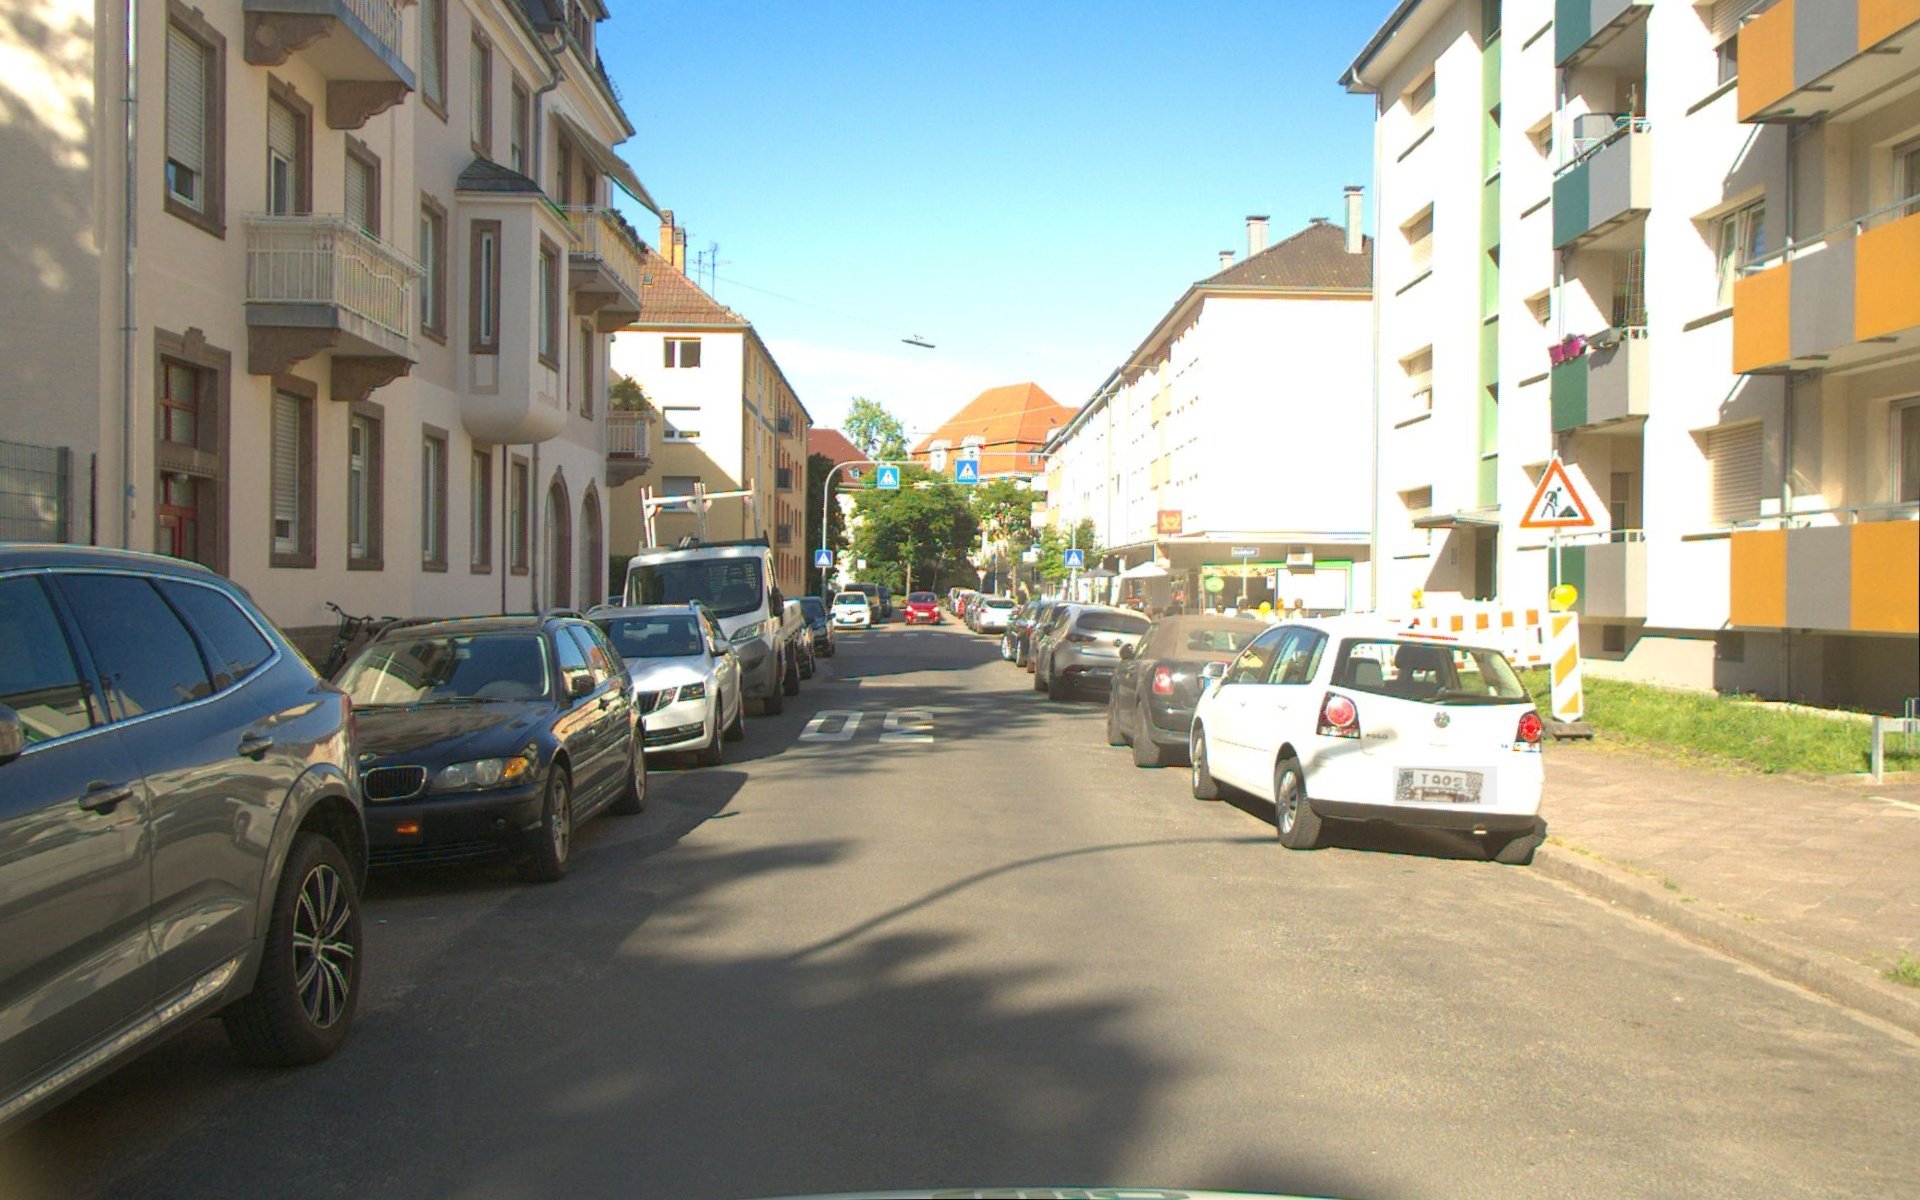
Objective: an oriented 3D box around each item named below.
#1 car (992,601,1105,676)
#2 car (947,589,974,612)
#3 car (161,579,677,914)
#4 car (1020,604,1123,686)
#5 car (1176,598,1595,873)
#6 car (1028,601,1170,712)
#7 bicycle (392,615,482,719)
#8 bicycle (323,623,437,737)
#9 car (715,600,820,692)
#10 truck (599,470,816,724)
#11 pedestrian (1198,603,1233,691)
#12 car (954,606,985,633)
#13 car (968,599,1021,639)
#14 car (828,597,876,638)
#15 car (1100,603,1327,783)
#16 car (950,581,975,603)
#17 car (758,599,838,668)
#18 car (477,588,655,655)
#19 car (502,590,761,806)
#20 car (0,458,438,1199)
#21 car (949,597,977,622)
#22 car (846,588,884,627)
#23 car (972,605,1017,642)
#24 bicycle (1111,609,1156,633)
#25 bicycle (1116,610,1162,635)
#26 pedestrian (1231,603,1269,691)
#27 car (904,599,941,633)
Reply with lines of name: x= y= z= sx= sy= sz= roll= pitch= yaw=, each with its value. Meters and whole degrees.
car: x=1.898 y=0.815 z=36.923 sx=1.818 sy=1.550 sz=4.771 roll=0 pitch=0 yaw=-6
car: x=0.013 y=0.007 z=107.320 sx=1.605 sy=1.466 sz=3.417 roll=-1 pitch=1 yaw=-2
car: x=-2.988 y=0.692 z=10.204 sx=1.755 sy=1.590 sz=4.459 roll=-1 pitch=0 yaw=-1
car: x=2.110 y=0.824 z=32.170 sx=1.612 sy=1.485 sz=3.938 roll=0 pitch=0 yaw=-2
car: x=2.801 y=0.813 z=11.785 sx=1.653 sy=1.488 sz=3.816 roll=5 pitch=0 yaw=-4
car: x=2.110 y=0.820 z=26.274 sx=1.756 sy=1.496 sz=4.338 roll=3 pitch=0 yaw=-1
bicycle: x=-7.320 y=0.908 z=23.262 sx=0.558 sy=1.301 sz=2.340 roll=-1 pitch=1 yaw=-1
bicycle: x=-7.094 y=0.947 z=20.343 sx=0.616 sy=1.224 sz=2.340 roll=-1 pitch=1 yaw=-1
car: x=-3.487 y=0.793 z=30.590 sx=1.613 sy=1.440 sz=4.078 roll=-5 pitch=0 yaw=-4
truck: x=-3.365 y=-0.059 z=23.605 sx=2.214 sy=3.038 sz=7.273 roll=-1 pitch=0 yaw=-2
pedestrian: x=4.343 y=0.801 z=28.107 sx=0.495 sy=1.458 sz=0.452 roll=-2 pitch=1 yaw=15
car: x=0.531 y=1.093 z=96.171 sx=1.605 sy=1.466 sz=3.417 roll=-1 pitch=1 yaw=-2
car: x=1.345 y=0.717 z=64.999 sx=1.808 sy=1.466 sz=3.417 roll=-1 pitch=1 yaw=-3
car: x=-4.478 y=0.693 z=69.101 sx=1.755 sy=1.506 sz=4.098 roll=-2 pitch=1 yaw=-1
car: x=2.430 y=0.838 z=16.667 sx=1.654 sy=1.492 sz=3.582 roll=2 pitch=1 yaw=-1
car: x=0.158 y=-0.570 z=111.714 sx=1.605 sy=1.466 sz=3.417 roll=-1 pitch=1 yaw=-2
car: x=-3.840 y=0.757 z=39.797 sx=1.670 sy=1.440 sz=4.371 roll=-5 pitch=0 yaw=-4
car: x=-10.332 y=0.538 z=43.390 sx=4.398 sy=1.643 sz=1.768 roll=-1 pitch=1 yaw=-20
car: x=-3.070 y=0.819 z=16.399 sx=1.757 sy=1.567 sz=4.638 roll=-6 pitch=2 yaw=-3
car: x=-2.901 y=0.582 z=4.013 sx=1.841 sy=1.693 sz=4.929 roll=-2 pitch=1 yaw=-3
car: x=0.167 y=0.564 z=102.524 sx=1.605 sy=1.466 sz=3.417 roll=-1 pitch=1 yaw=-2
car: x=-4.561 y=0.321 z=80.154 sx=1.663 sy=1.810 sz=4.098 roll=0 pitch=1 yaw=-1
car: x=1.423 y=0.970 z=69.818 sx=1.656 sy=1.466 sz=3.417 roll=0 pitch=0 yaw=-3
bicycle: x=7.214 y=0.864 z=68.775 sx=1.774 sy=0.984 sz=0.672 roll=-1 pitch=1 yaw=-12
bicycle: x=7.363 y=0.912 z=68.172 sx=1.774 sy=0.984 sz=0.672 roll=-1 pitch=1 yaw=-12
pedestrian: x=4.931 y=0.798 z=28.120 sx=0.563 sy=1.458 sz=0.472 roll=-2 pitch=1 yaw=16
car: x=-1.704 y=0.700 z=76.015 sx=1.663 sy=1.466 sz=3.418 roll=0 pitch=1 yaw=-1
